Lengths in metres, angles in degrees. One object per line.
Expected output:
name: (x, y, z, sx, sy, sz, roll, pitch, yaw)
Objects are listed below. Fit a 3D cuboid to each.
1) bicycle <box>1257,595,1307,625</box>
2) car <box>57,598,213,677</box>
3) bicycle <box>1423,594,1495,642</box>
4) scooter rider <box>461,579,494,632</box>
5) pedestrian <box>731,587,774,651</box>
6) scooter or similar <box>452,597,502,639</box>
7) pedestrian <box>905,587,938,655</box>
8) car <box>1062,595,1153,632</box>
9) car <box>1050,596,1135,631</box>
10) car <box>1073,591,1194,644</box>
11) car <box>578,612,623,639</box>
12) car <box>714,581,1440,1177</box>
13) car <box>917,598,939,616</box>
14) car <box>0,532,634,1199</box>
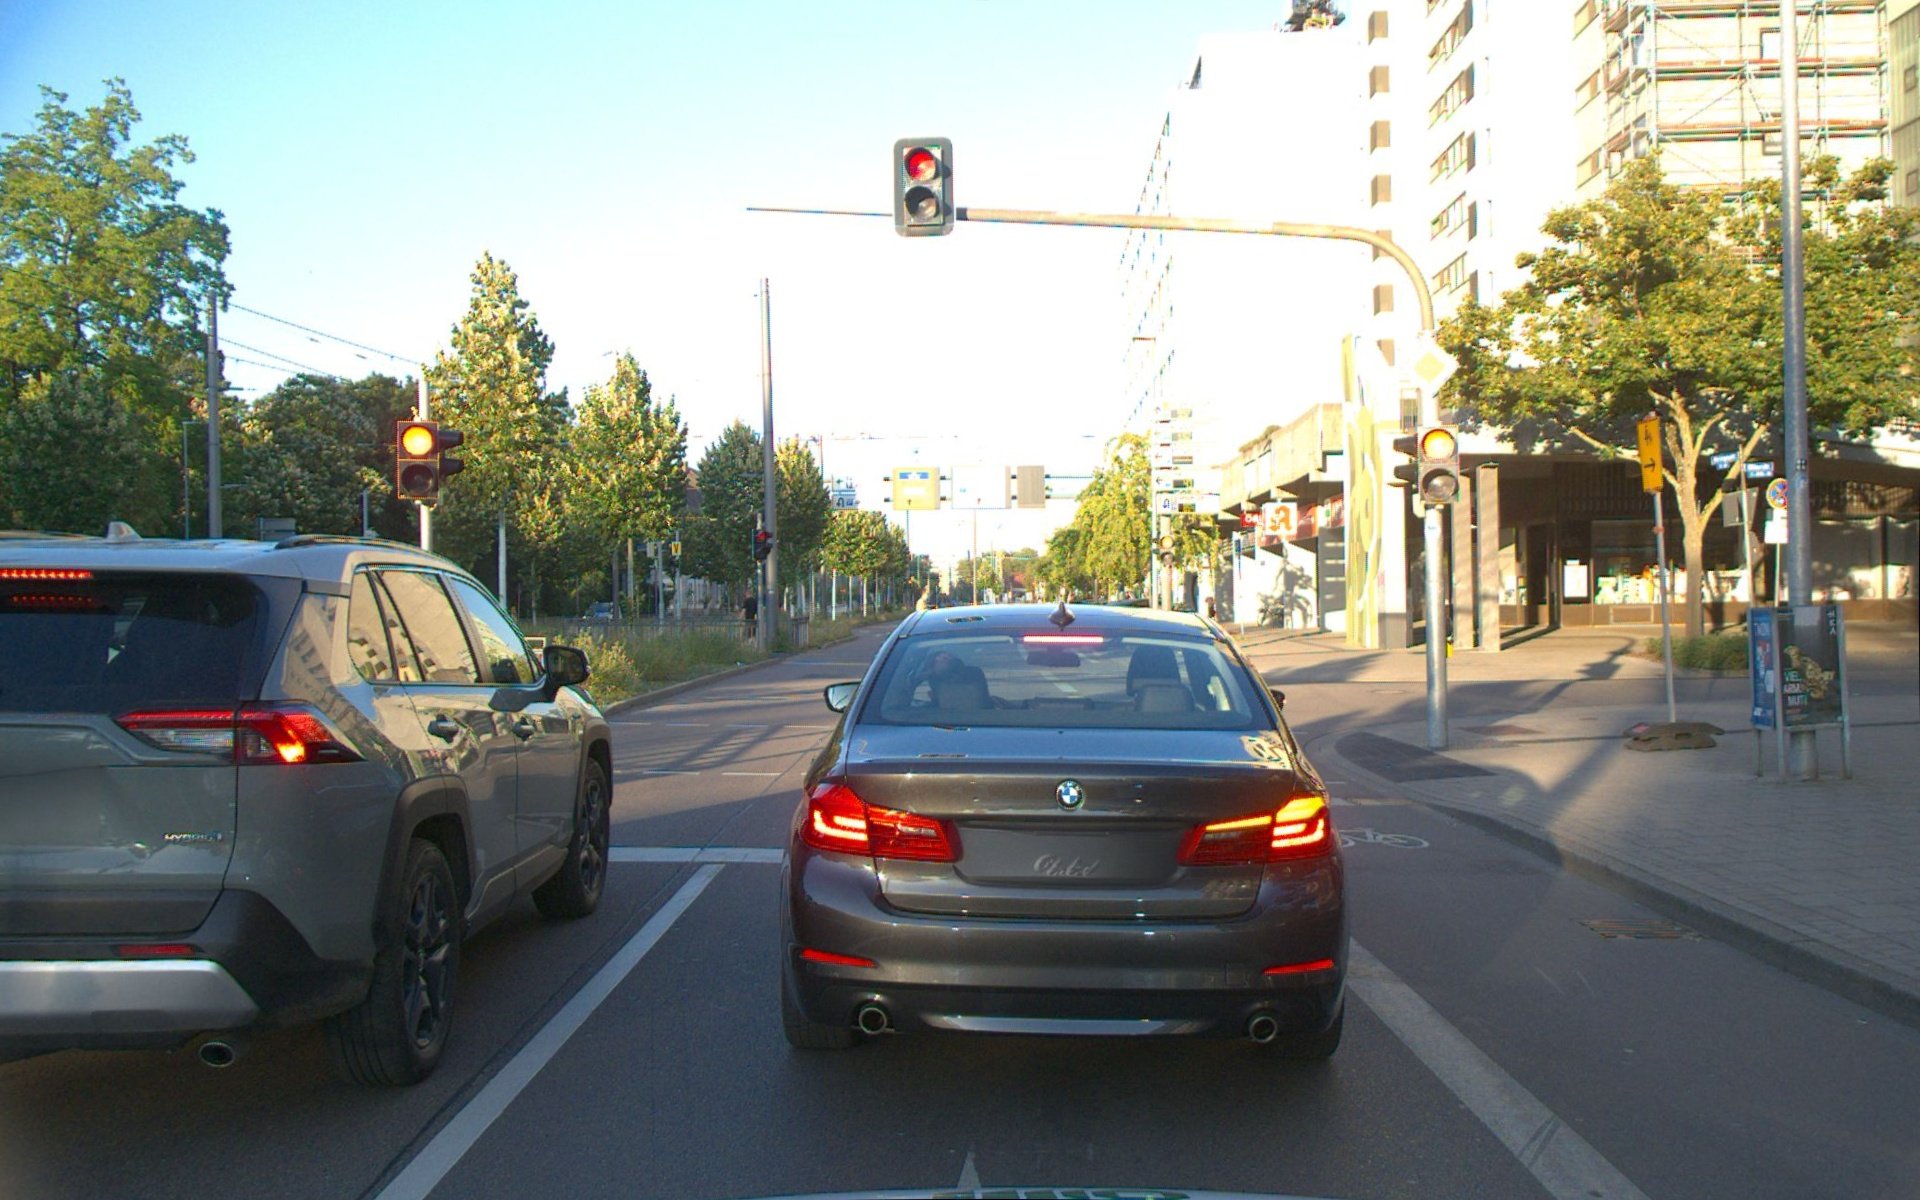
bicycle: (13.473, 0.434, 69.154, 1.974, 1.169, 0.691, 2, -1, 6)
car: (-25.247, 1.085, 50.830, 1.951, 2.206, 4.755, 0, 1, 7)
bicycle: (12.508, 0.444, 41.513, 0.678, 1.169, 2.012, 2, -1, -18)
scooter rider: (-14.036, 0.160, 48.081, 0.810, 1.540, 0.648, -1, 0, -25)
pedestrian: (-5.298, 0.483, 42.209, 0.802, 1.614, 0.828, -1, 0, -33)
scooter or similar: (-14.024, 0.516, 48.049, 1.312, 1.173, 0.509, -1, 0, -26)
pedestrian: (-1.003, 0.553, 43.343, 0.818, 1.742, 0.647, -1, 0, -2)
car: (7.078, 0.630, 79.142, 4.221, 1.687, 1.837, 0, 1, -36)
car: (6.858, 0.659, 85.238, 4.219, 1.687, 1.838, 0, 1, -36)
car: (5.981, 0.561, 56.659, 4.234, 1.687, 1.831, -1, 1, -43)
car: (-21.043, 1.461, 96.944, 1.763, 1.507, 3.783, -1, 0, 0)
car: (0.379, 0.703, 6.601, 1.892, 1.507, 4.524, 0, 1, 2)
car: (-2.818, 0.623, 146.886, 1.938, 1.458, 4.843, 0, 1, 0)
car: (-2.499, 0.633, 6.178, 1.817, 1.687, 4.267, 0, 1, -2)
